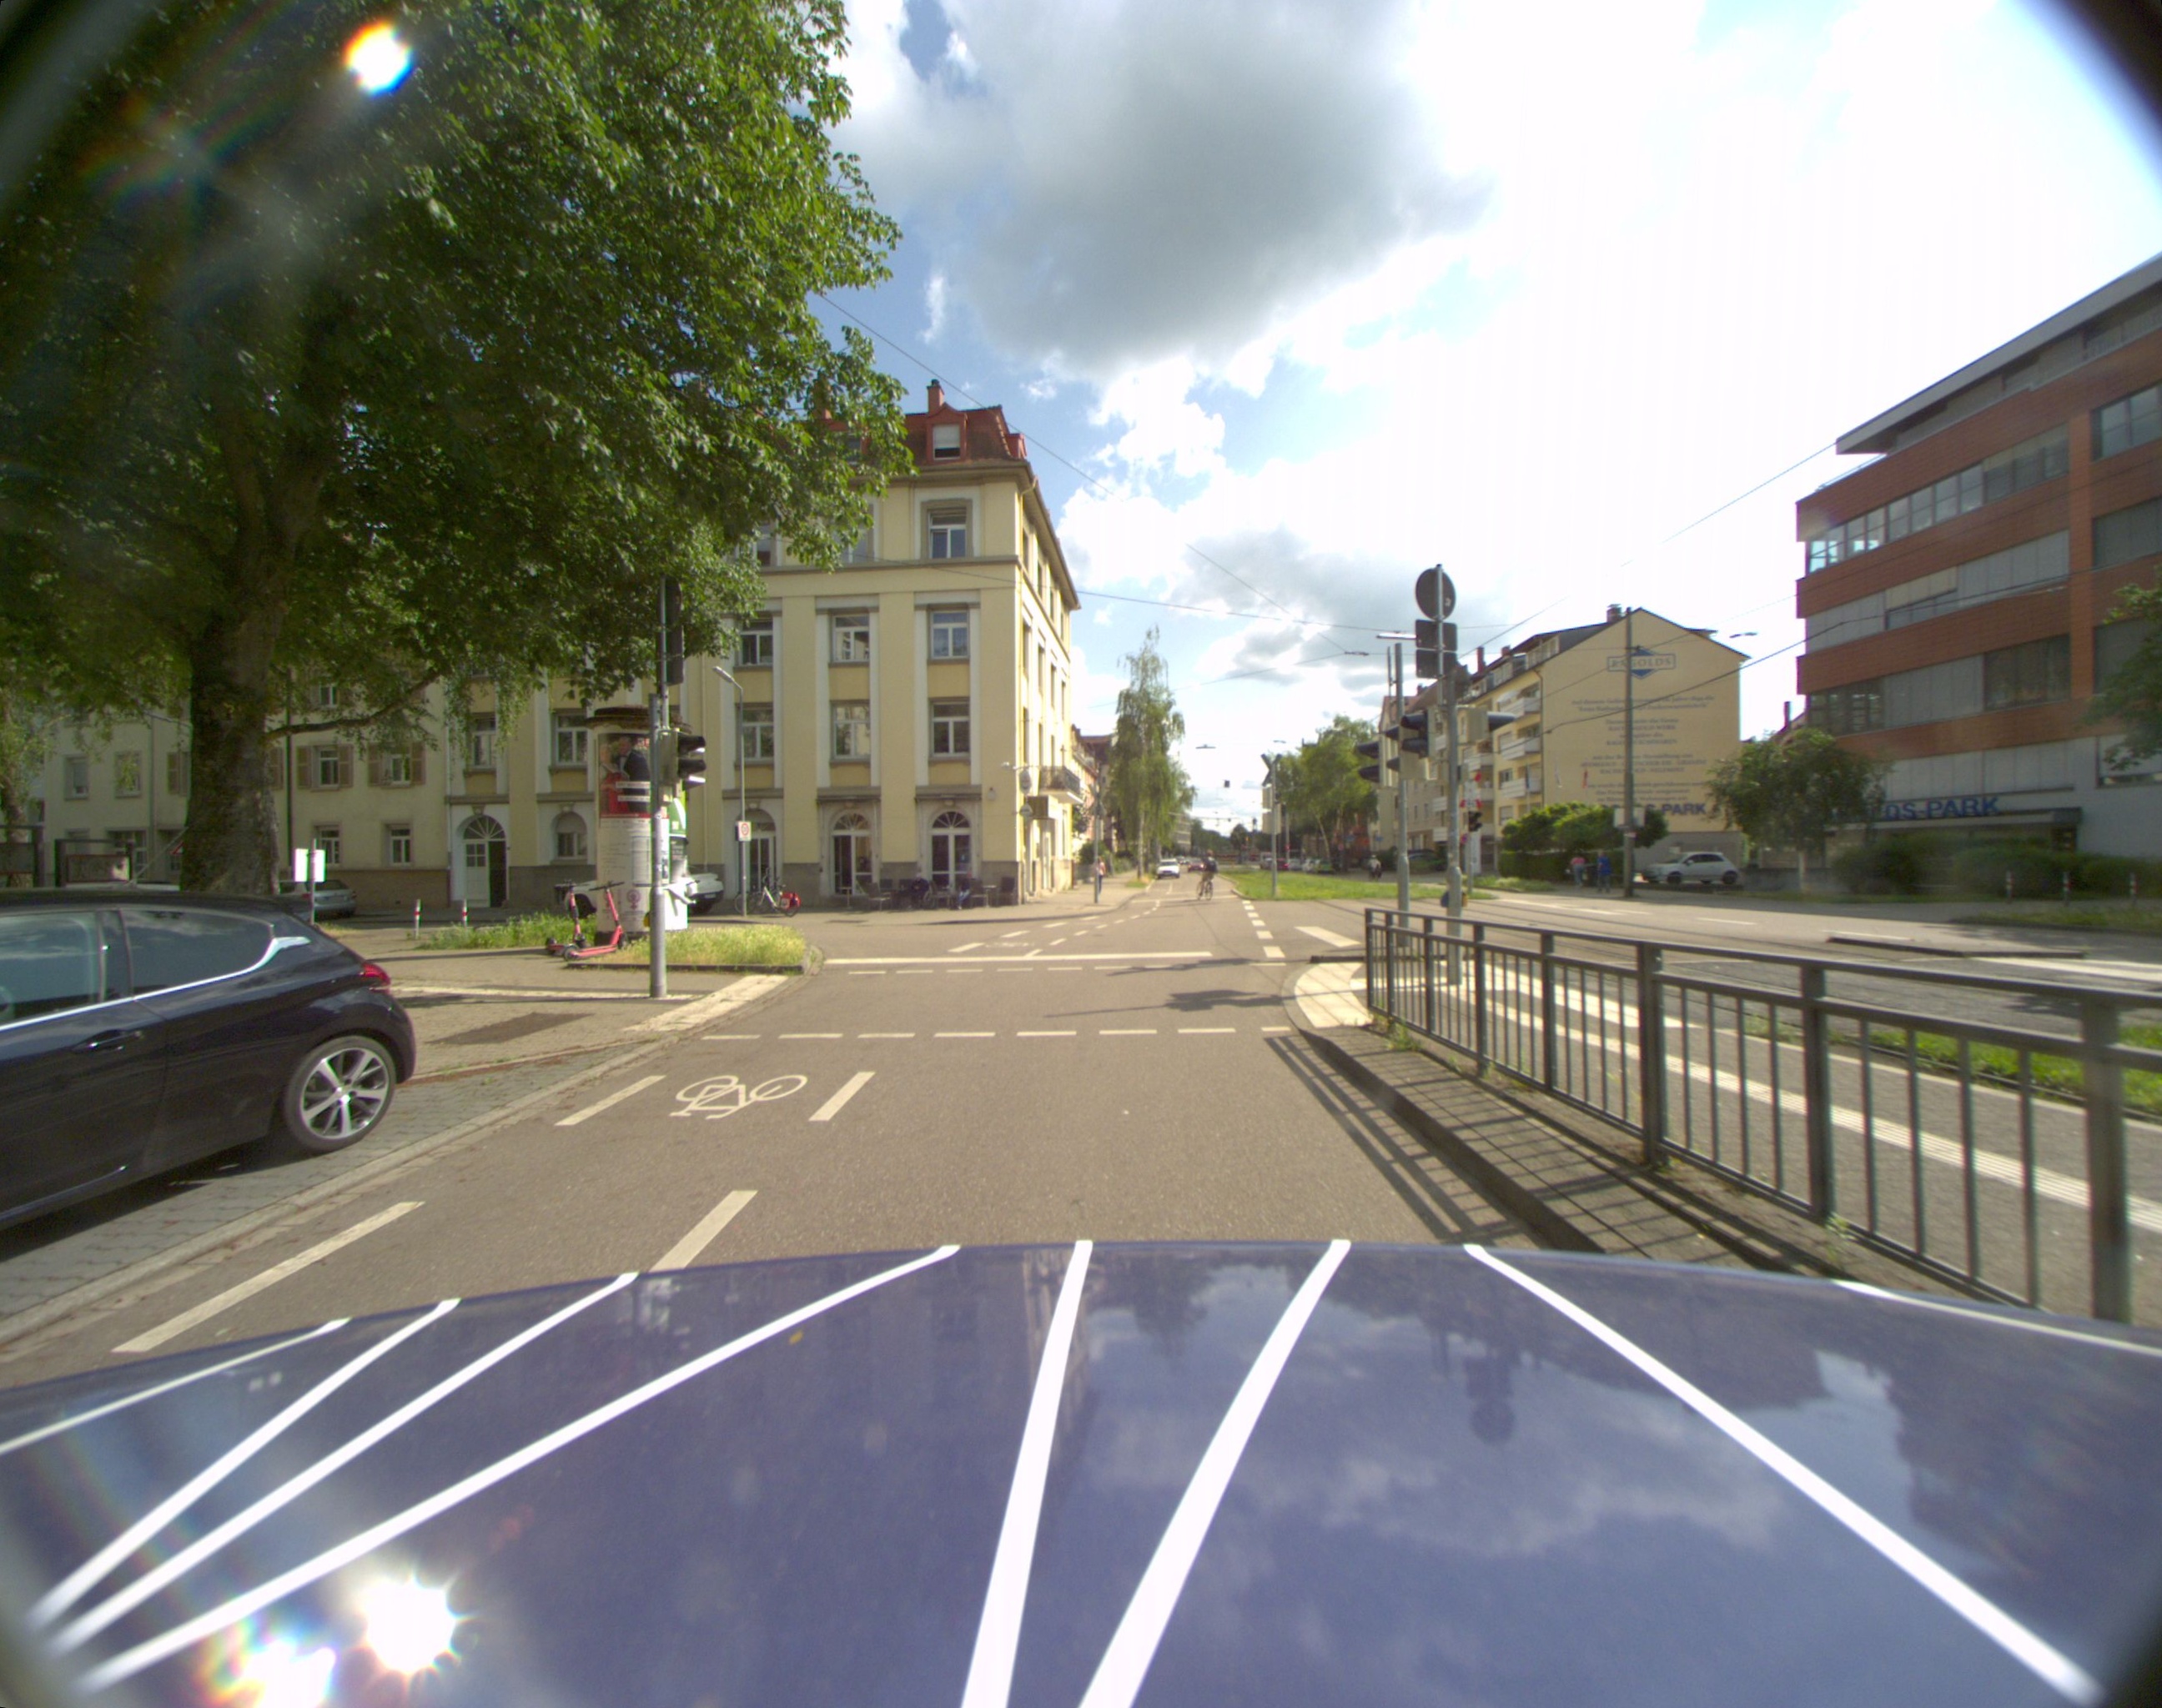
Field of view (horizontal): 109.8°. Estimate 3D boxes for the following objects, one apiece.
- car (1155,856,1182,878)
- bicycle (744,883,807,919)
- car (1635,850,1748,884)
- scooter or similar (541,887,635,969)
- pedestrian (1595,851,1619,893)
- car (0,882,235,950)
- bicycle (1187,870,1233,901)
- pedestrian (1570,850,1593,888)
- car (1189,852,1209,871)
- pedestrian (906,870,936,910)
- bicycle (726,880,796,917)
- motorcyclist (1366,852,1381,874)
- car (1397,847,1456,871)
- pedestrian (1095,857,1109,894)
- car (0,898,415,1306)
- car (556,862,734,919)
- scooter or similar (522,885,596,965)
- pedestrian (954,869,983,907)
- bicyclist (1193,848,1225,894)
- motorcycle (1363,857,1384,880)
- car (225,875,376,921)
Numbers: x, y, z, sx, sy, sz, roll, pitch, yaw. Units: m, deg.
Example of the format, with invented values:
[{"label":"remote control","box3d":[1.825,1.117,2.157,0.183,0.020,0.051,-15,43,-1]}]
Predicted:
[{"label":"car","box3d":[6.963,1.012,60.511,1.848,1.606,3.814,-2,1,3]},{"label":"bicycle","box3d":[-9.510,1.447,23.658,1.941,1.039,0.617,0,2,22]},{"label":"car","box3d":[28.022,0.606,34.972,3.608,1.470,1.777,-1,-3,8]},{"label":"scooter or similar","box3d":[-7.710,1.138,11.920,0.414,1.171,1.128,-3,-1,29]},{"label":"pedestrian","box3d":[21.643,0.742,31.294,0.650,1.700,0.481,-1,0,2]},{"label":"car","box3d":[-23.285,1.413,17.976,1.852,1.344,4.188,-1,0,36]},{"label":"bicycle","box3d":[4.970,1.207,29.489,0.773,1.097,2.569,-5,-1,-13]},{"label":"pedestrian","box3d":[22.850,0.678,34.680,0.650,1.700,0.588,-1,0,2]},{"label":"car","box3d":[13.223,0.834,85.124,1.997,2.002,4.002,-2,1,7]},{"label":"pedestrian","box3d":[-5.418,1.218,25.808,0.804,1.281,0.759,-1,2,3]},{"label":"bicycle","box3d":[-10.202,1.404,24.270,1.944,1.134,0.616,0,1,-2]},{"label":"motorcyclist","box3d":[18.651,0.588,48.508,0.663,1.350,0.693,-2,1,3]},{"label":"car","box3d":[29.908,0.426,65.907,4.255,2.002,2.002,-1,0,10]},{"label":"pedestrian","box3d":[0.964,0.978,34.805,0.593,1.622,0.538,2,1,3]},{"label":"car","box3d":[-4.845,0.980,2.566,1.689,1.379,3.924,1,1,1]},{"label":"car","box3d":[-13.937,1.149,24.387,4.828,1.646,1.858,-1,2,11]},{"label":"scooter or similar","box3d":[-8.438,1.129,12.290,1.105,1.234,0.447,-1,0,23]},{"label":"pedestrian","box3d":[-3.884,1.174,26.241,0.804,1.238,0.892,-1,2,3]},{"label":"bicyclist","box3d":[4.945,0.663,29.351,0.773,1.664,0.950,-5,-1,-13]},{"label":"motorcycle","box3d":[18.665,0.909,48.556,0.634,1.395,2.010,-2,1,3]},{"label":"car","box3d":[-27.877,1.563,27.187,3.993,1.417,1.858,-1,3,12]}]
